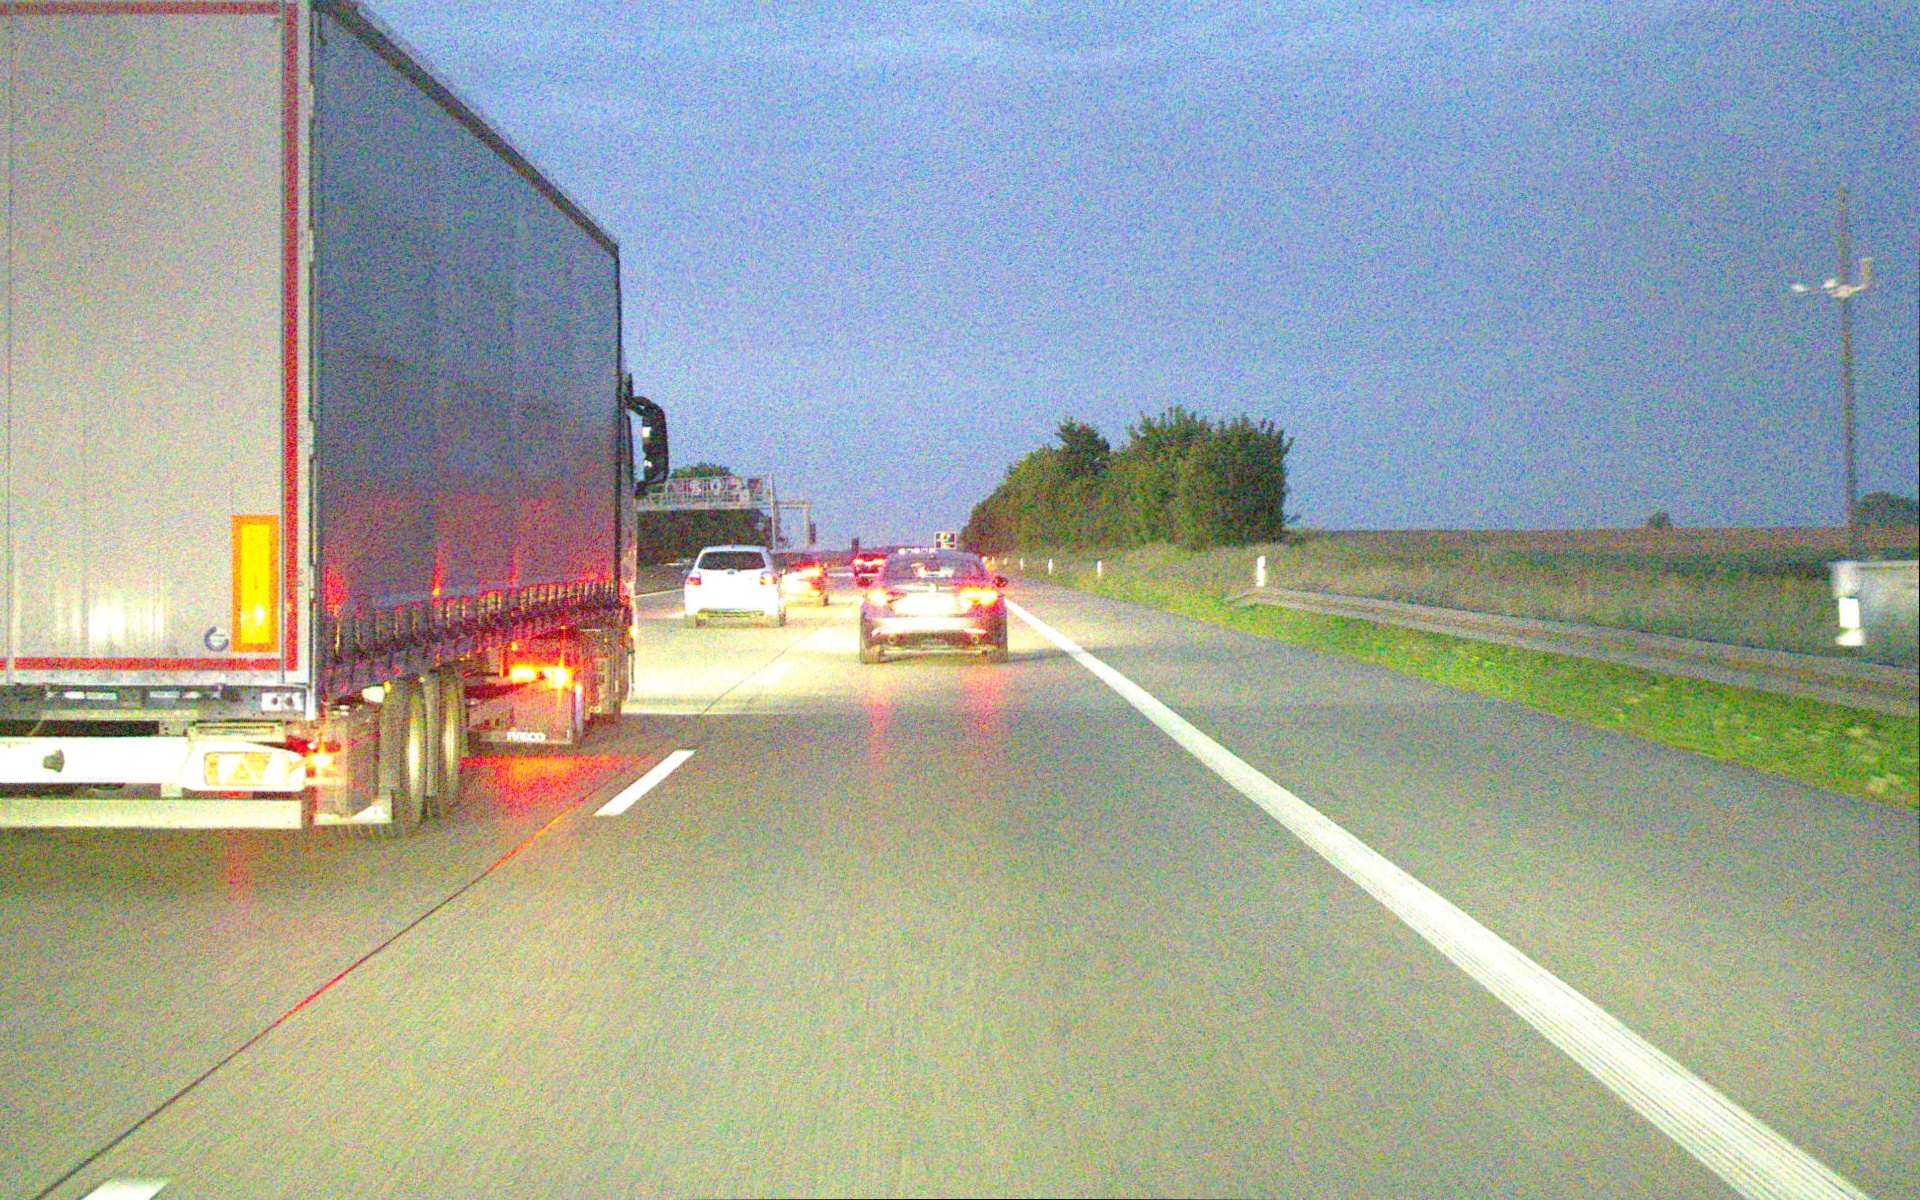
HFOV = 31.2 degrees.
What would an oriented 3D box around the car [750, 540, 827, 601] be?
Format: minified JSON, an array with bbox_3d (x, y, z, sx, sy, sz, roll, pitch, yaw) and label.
[{"bbox_3d":[-4.226,-0.735,85.250,1.722,1.466,4.726,1,0,-1],"label":"car"}]

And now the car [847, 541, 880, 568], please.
[{"bbox_3d":[-5.698,-2.652,202.640,1.880,1.547,4.000,1,0,-1],"label":"car"}]

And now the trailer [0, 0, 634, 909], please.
[{"bbox_3d":[-3.993,-0.840,21.194,2.794,4.071,14.526,-1,0,-1],"label":"trailer"}]

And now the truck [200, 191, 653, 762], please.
[{"bbox_3d":[-4.110,-0.914,27.794,2.777,4.079,6.103,-1,0,-1],"label":"truck"}]

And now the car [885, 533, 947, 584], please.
[{"bbox_3d":[-1.377,-1.272,106.448,1.880,1.547,4.000,1,0,-1],"label":"car"}]

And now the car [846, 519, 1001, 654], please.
[{"bbox_3d":[-0.466,-0.182,44.269,1.880,1.637,4.000,1,0,0],"label":"car"}]

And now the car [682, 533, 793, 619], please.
[{"bbox_3d":[-4.097,-0.441,63.839,1.744,1.519,4.414,1,0,0],"label":"car"}]
